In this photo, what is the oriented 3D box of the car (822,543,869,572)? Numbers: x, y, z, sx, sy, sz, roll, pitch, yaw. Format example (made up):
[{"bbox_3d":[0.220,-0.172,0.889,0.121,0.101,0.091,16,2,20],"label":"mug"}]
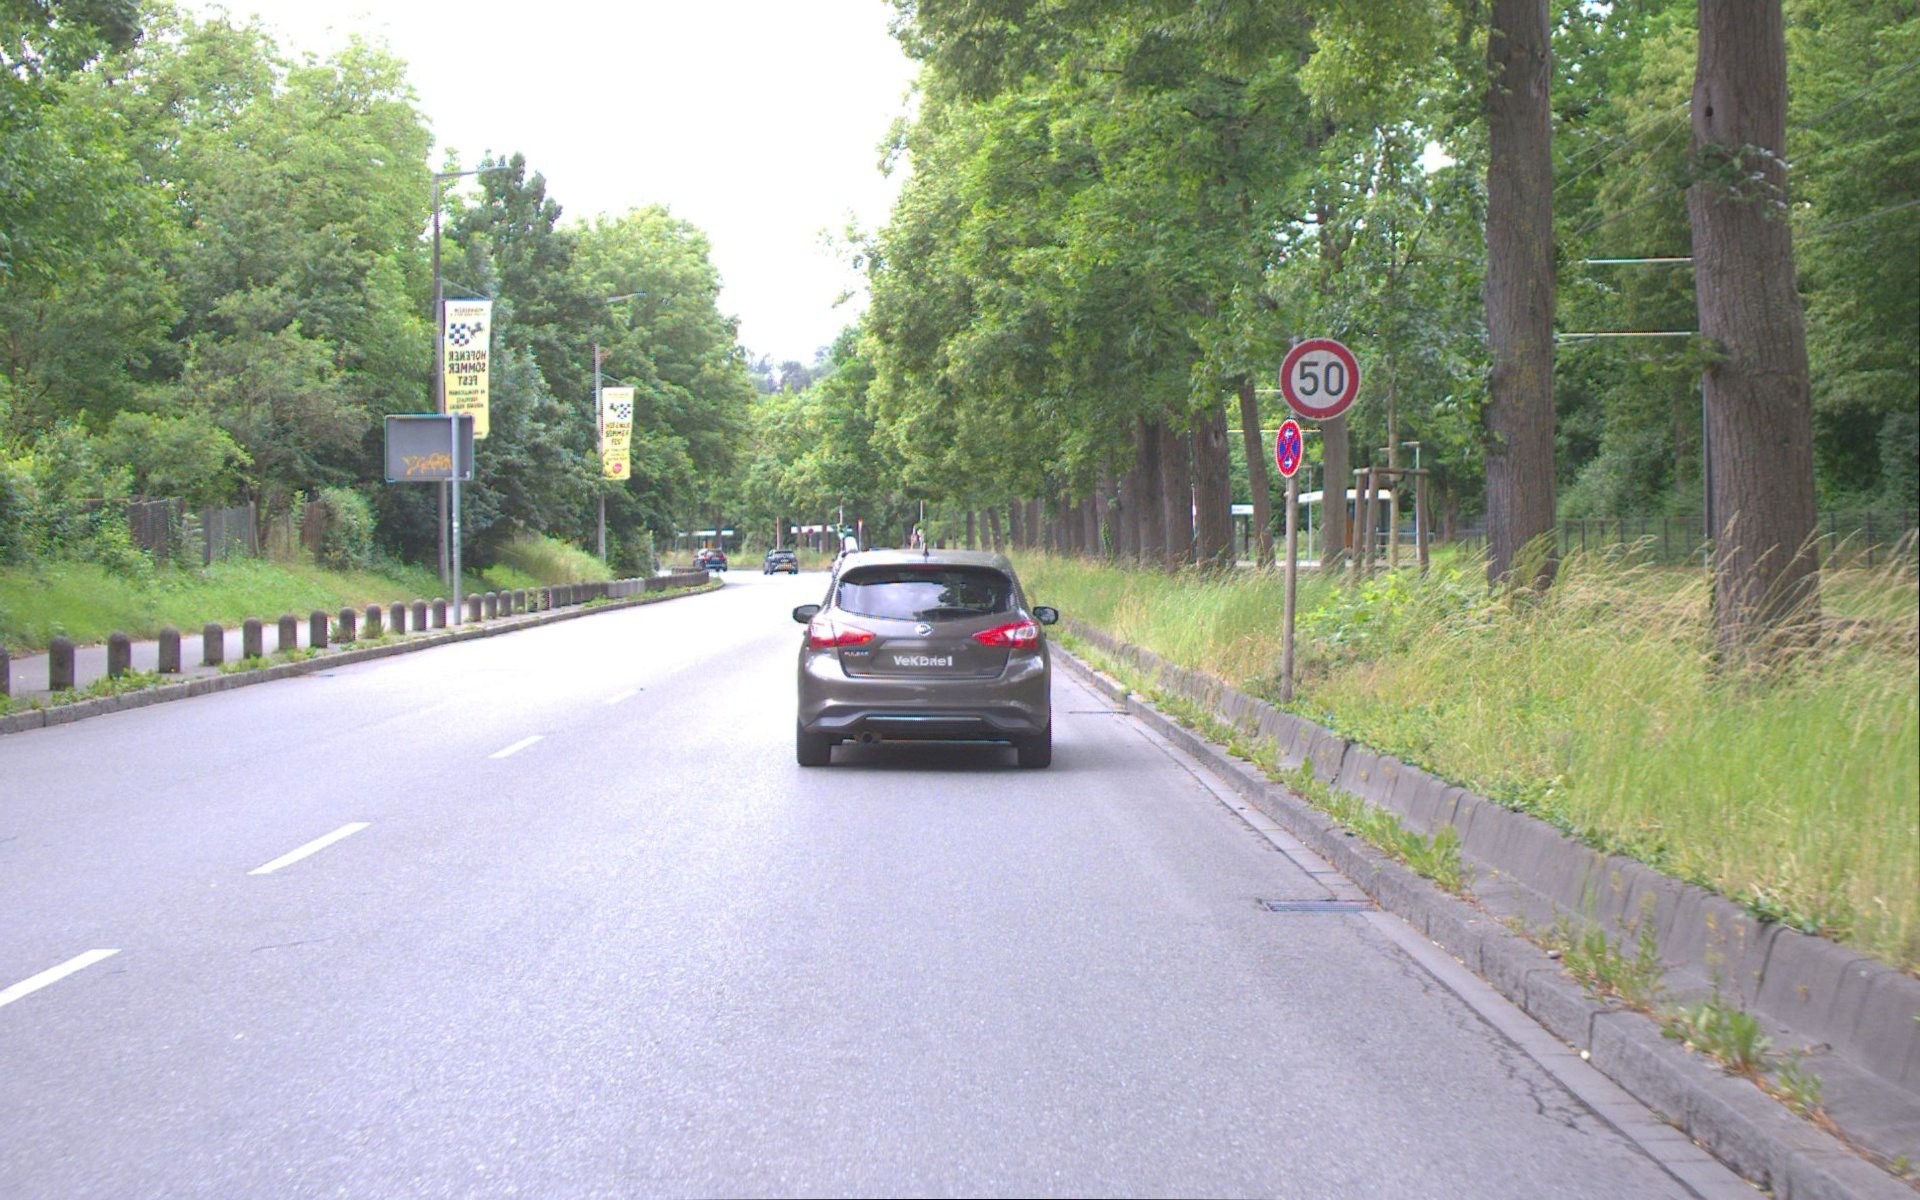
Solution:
[{"bbox_3d":[-5.856,-2.197,175.663,1.561,1.436,3.553,1,1,-15],"label":"car"}]

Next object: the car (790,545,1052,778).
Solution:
[{"bbox_3d":[-0.304,0.387,24.822,1.730,1.532,3.552,1,1,-1],"label":"car"}]

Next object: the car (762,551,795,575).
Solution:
[{"bbox_3d":[-11.169,-2.282,211.597,1.561,1.436,3.553,1,1,-11],"label":"car"}]

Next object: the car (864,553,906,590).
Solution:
[{"bbox_3d":[-2.966,-1.133,135.815,1.561,1.436,3.552,1,1,0],"label":"car"}]

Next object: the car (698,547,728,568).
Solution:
[{"bbox_3d":[-17.504,-2.992,243.913,1.561,1.436,3.553,1,1,-13],"label":"car"}]

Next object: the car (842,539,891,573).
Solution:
[{"bbox_3d":[-4.156,-1.960,152.769,1.561,1.436,3.553,1,1,-12],"label":"car"}]
